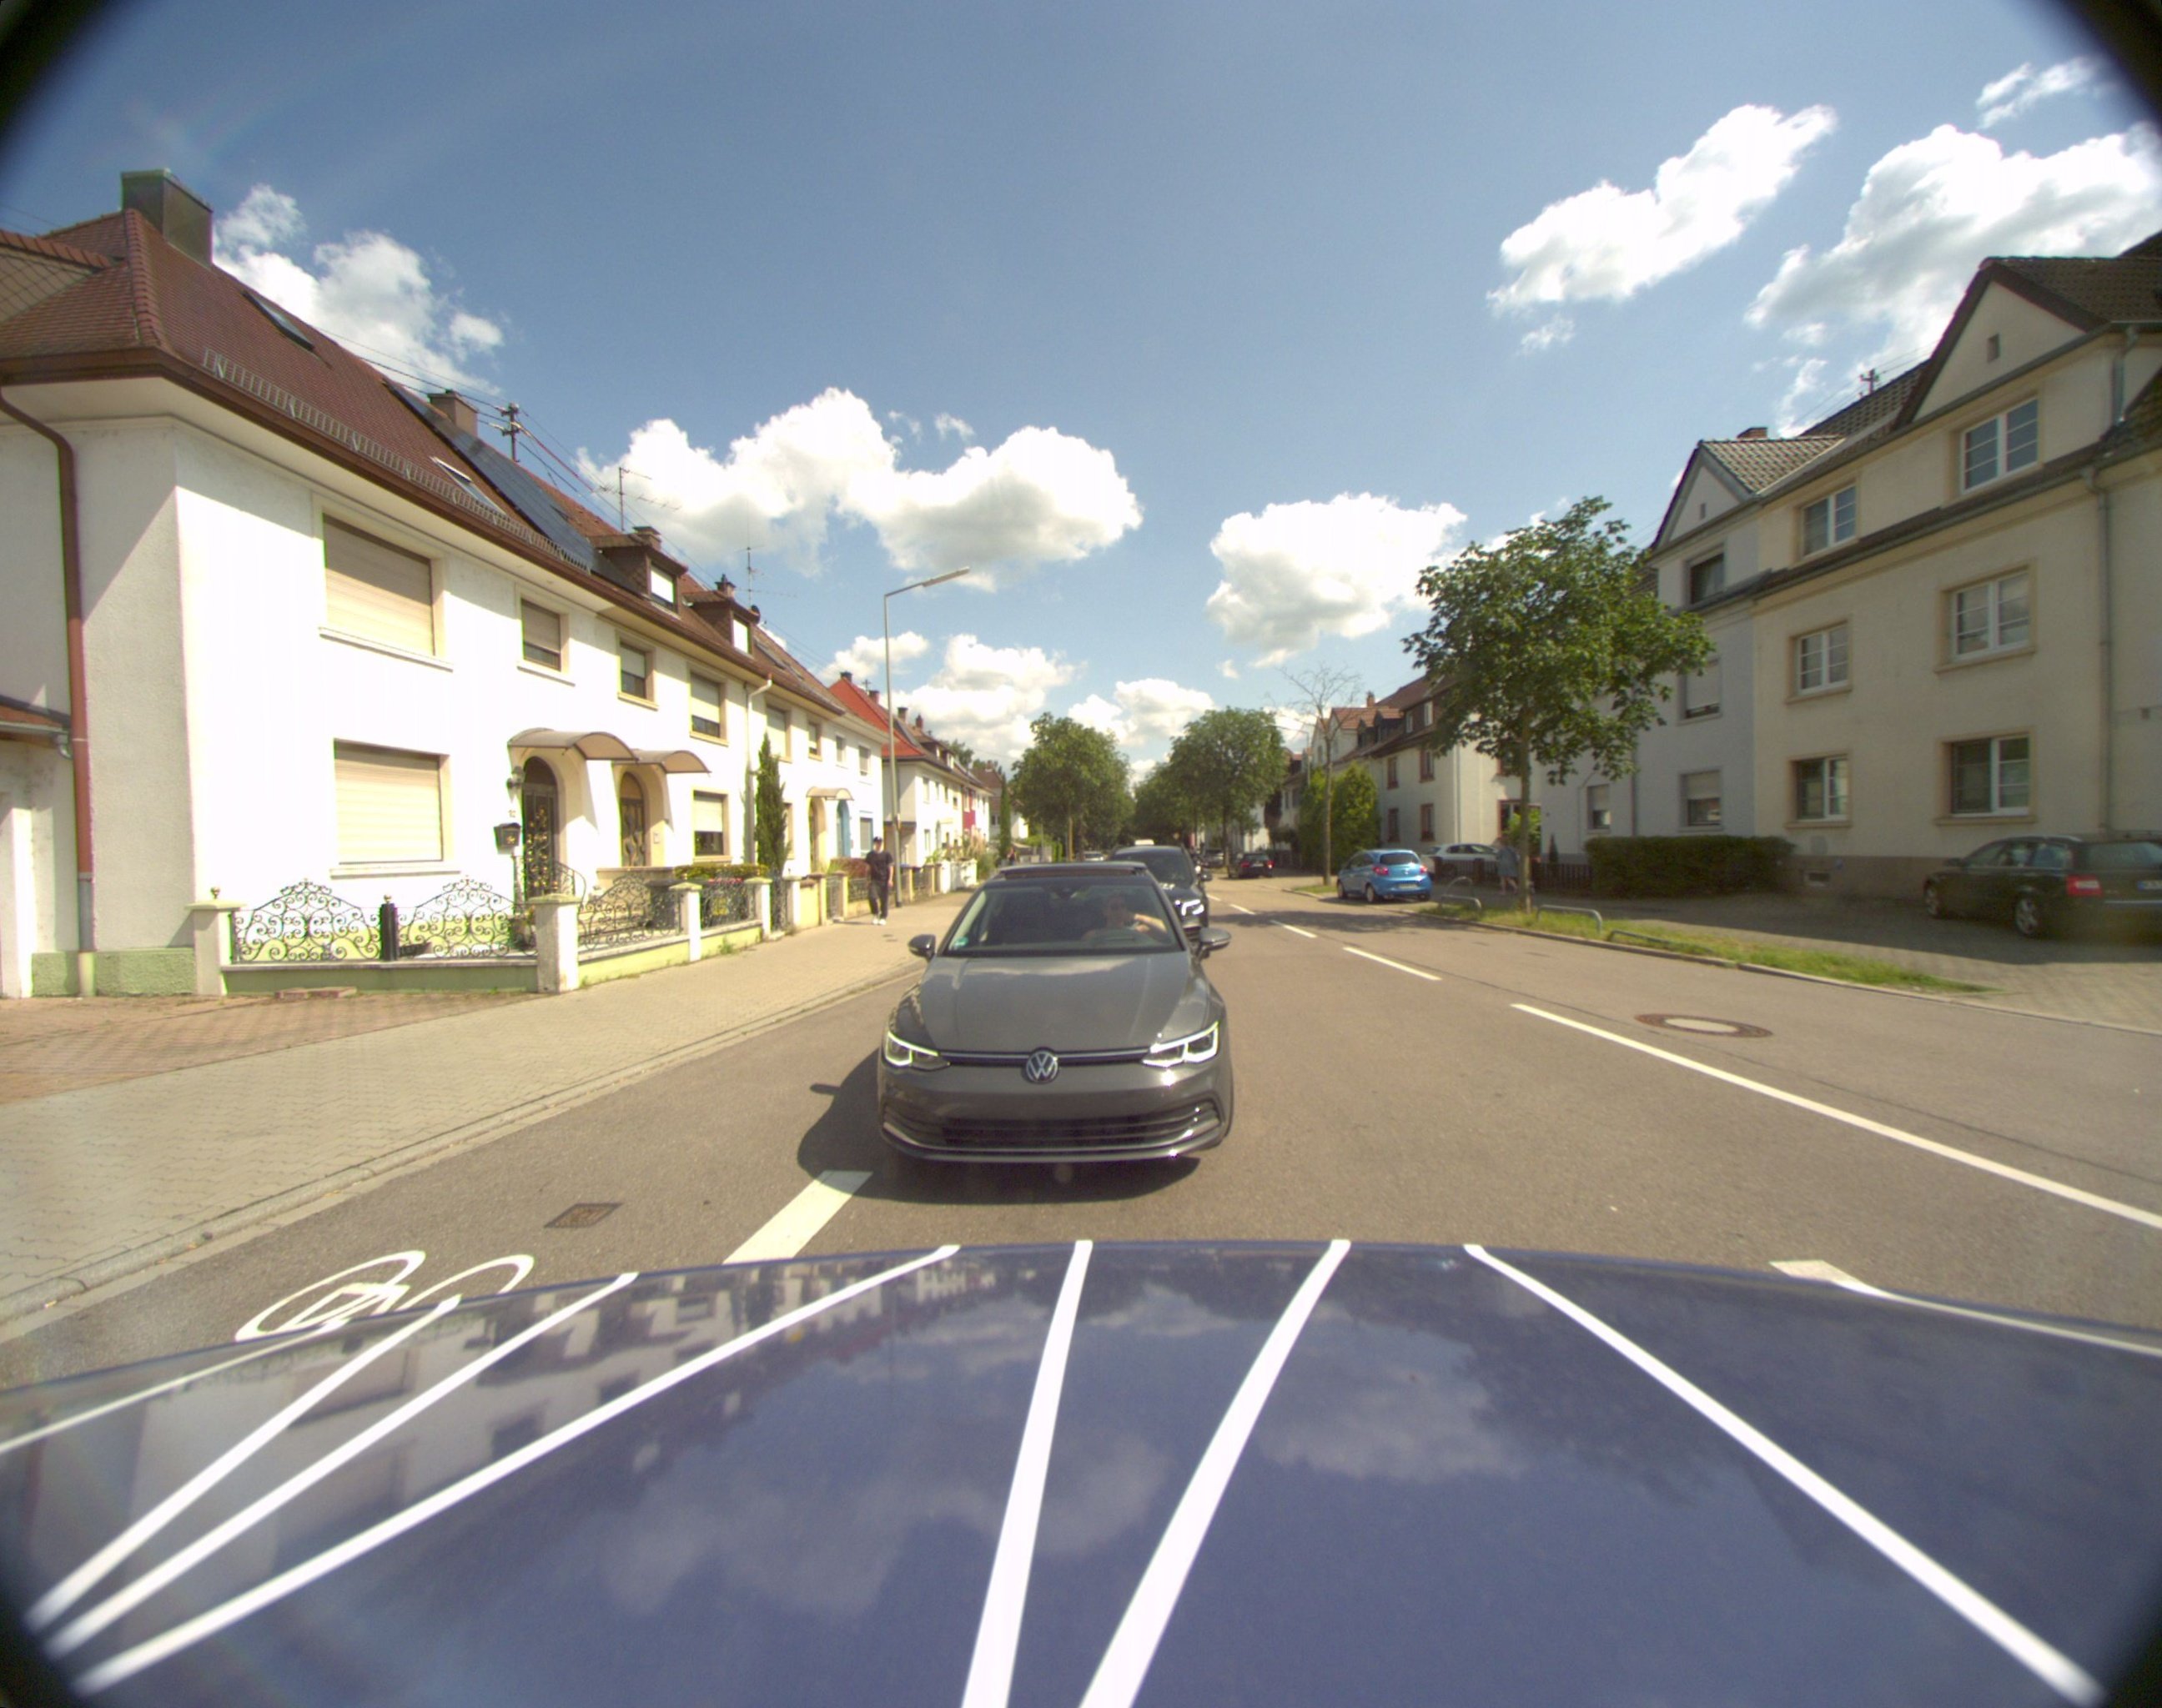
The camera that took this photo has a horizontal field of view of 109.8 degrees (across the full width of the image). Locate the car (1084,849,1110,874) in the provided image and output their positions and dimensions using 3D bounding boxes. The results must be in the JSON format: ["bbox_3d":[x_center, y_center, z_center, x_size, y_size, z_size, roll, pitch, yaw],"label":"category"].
[{"bbox_3d":[1.070,0.477,49.962,1.381,1.493,3.002,-2,0,6],"label":"car"}]

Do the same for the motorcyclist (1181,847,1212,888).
[{"bbox_3d":[4.040,0.484,26.695,0.825,1.390,1.100,-3,-2,-3],"label":"motorcyclist"}]

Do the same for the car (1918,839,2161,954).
[{"bbox_3d":[14.238,0.498,10.995,1.757,1.378,4.110,-1,1,31],"label":"car"}]

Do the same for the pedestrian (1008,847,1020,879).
[{"bbox_3d":[-3.552,0.473,40.123,0.519,1.701,0.618,-1,1,2],"label":"pedestrian"}]

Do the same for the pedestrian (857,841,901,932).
[{"bbox_3d":[-4.017,0.627,15.146,0.592,1.757,0.937,-1,1,1],"label":"pedestrian"}]

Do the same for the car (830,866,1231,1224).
[{"bbox_3d":[-0.255,0.893,5.746,1.766,1.465,4.686,-1,0,-1],"label":"car"}]

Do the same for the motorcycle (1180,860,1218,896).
[{"bbox_3d":[4.067,0.803,26.391,0.843,1.121,2.358,-1,0,-3],"label":"motorcycle"}]

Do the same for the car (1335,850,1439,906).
[{"bbox_3d":[8.621,0.622,21.654,1.709,1.454,3.154,-1,0,1],"label":"car"}]

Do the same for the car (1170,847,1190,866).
[{"bbox_3d":[8.935,0.219,68.500,1.562,1.645,3.252,-1,0,4],"label":"car"}]

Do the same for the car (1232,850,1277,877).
[{"bbox_3d":[8.949,0.462,39.491,1.709,1.289,3.918,-1,0,4],"label":"car"}]

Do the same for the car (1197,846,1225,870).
[{"bbox_3d":[9.115,0.255,53.433,1.562,1.645,3.574,-1,0,4],"label":"car"}]

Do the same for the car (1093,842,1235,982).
[{"bbox_3d":[1.110,0.721,12.112,1.776,1.754,4.874,-1,0,1],"label":"car"}]

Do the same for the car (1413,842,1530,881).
[{"bbox_3d":[15.630,0.286,30.583,3.805,1.446,1.711,-1,1,4],"label":"car"}]

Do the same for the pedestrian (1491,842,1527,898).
[{"bbox_3d":[11.988,0.442,21.289,0.632,1.527,0.618,-1,1,-2],"label":"pedestrian"}]

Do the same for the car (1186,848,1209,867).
[{"bbox_3d":[9.124,0.273,59.458,1.623,1.417,3.002,-2,0,6],"label":"car"}]
